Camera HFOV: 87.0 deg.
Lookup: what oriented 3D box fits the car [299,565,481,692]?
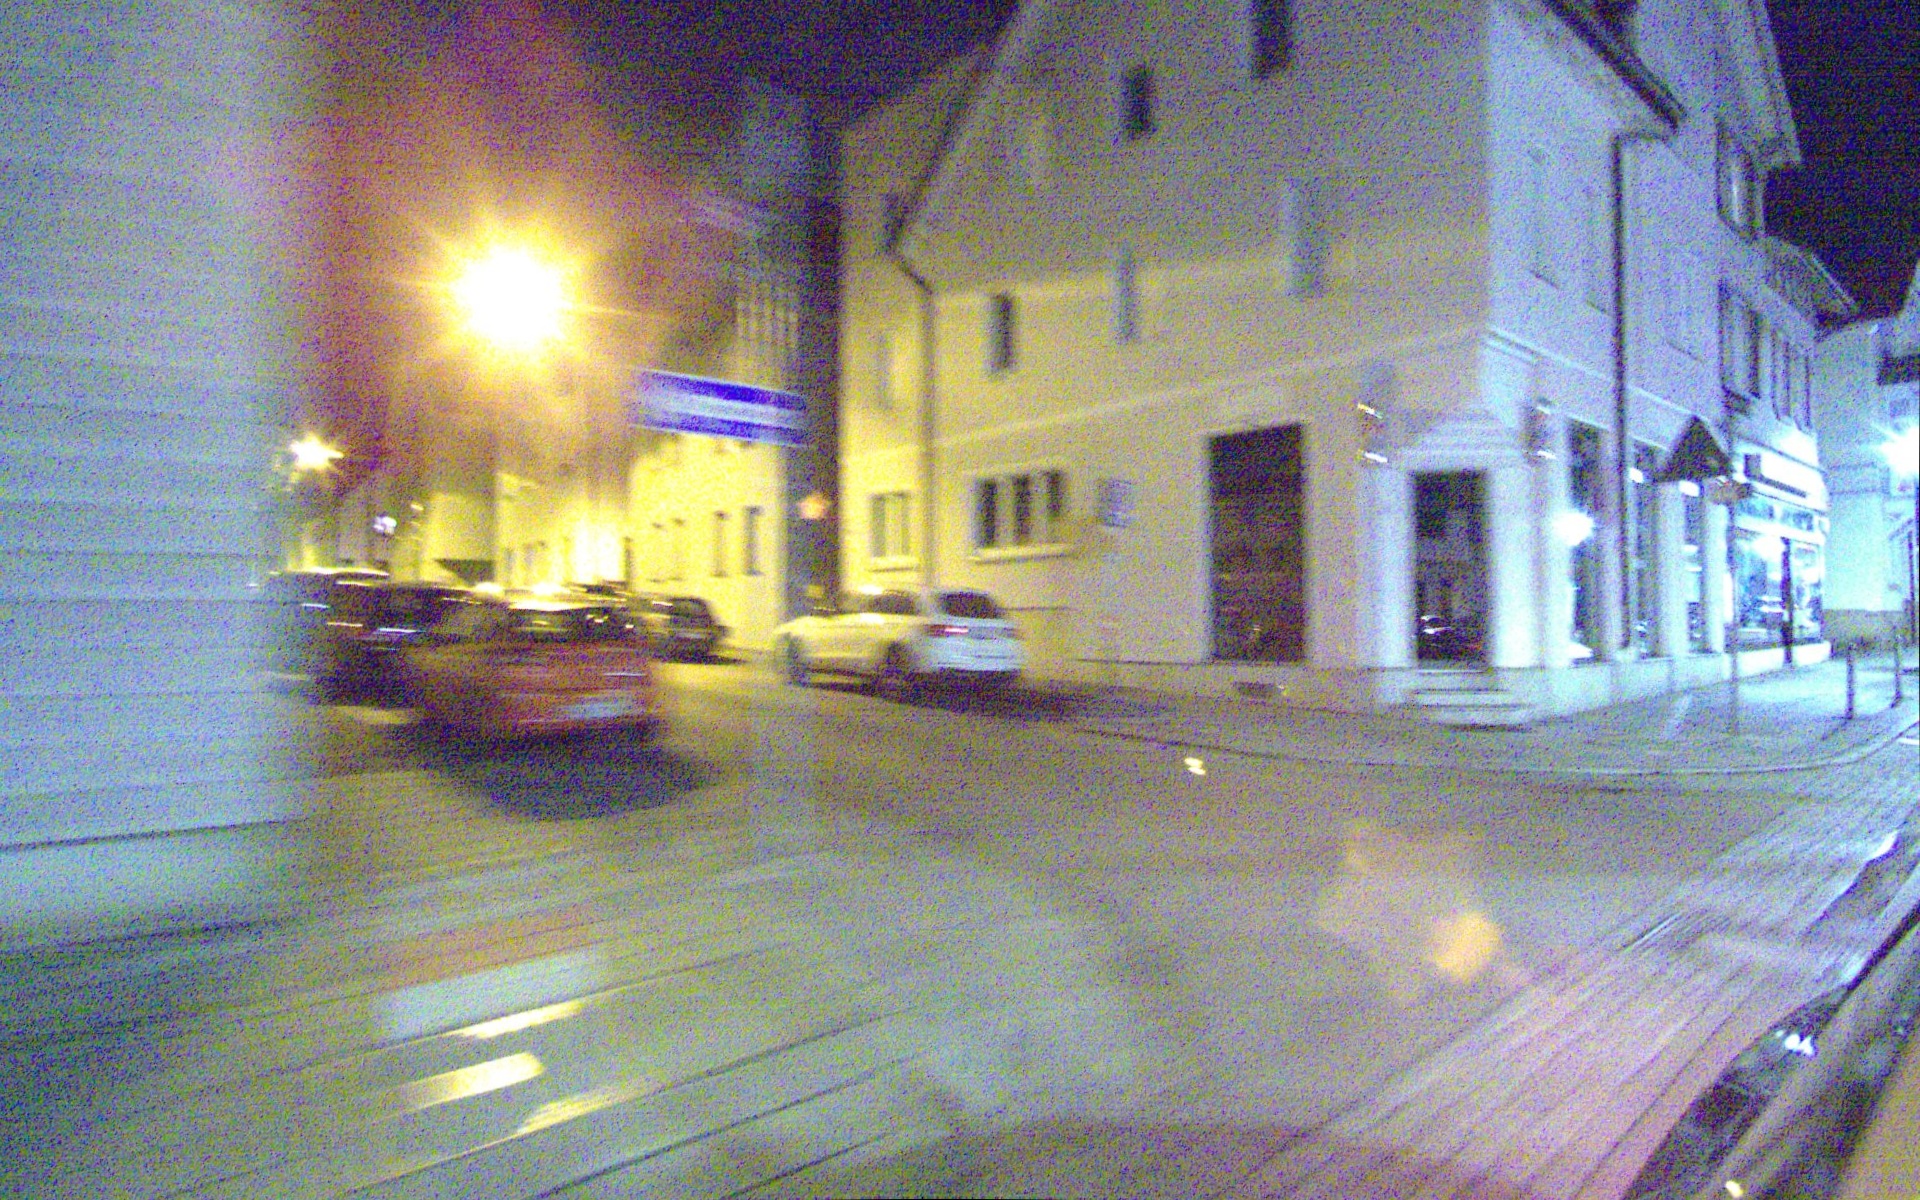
[{"bbox_3d":[-8.418,0.351,14.800,1.633,1.608,3.859,0,0,-40],"label":"car"}]

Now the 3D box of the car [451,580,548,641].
[{"bbox_3d":[-14.006,0.277,30.657,1.667,1.687,3.943,4,-2,-39],"label":"car"}]

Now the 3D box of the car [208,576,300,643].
[{"bbox_3d":[-18.898,0.199,27.035,1.634,1.518,3.267,-6,6,-40],"label":"car"}]

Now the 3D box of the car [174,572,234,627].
[{"bbox_3d":[-28.919,-0.075,38.676,1.538,1.871,3.267,-6,6,-40],"label":"car"}]

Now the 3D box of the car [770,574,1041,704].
[{"bbox_3d":[-0.959,0.486,15.212,1.866,1.659,4.315,2,0,-39],"label":"car"}]

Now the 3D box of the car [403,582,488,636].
[{"bbox_3d":[-17.713,0.290,34.753,1.667,1.687,4.212,4,-2,-39],"label":"car"}]

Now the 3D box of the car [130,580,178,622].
[{"bbox_3d":[-37.262,0.017,46.753,1.538,1.713,3.267,-6,6,-40],"label":"car"}]

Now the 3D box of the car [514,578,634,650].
[{"bbox_3d":[-9.992,0.328,26.022,1.667,1.687,3.943,4,-2,-39],"label":"car"}]

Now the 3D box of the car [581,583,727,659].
[{"bbox_3d":[-6.814,0.418,22.320,1.667,1.499,3.943,4,-2,-39],"label":"car"}]

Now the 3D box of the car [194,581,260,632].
[{"bbox_3d":[-25.430,0.170,35.082,1.538,1.518,3.267,-6,6,-40],"label":"car"}]

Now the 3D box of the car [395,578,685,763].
[{"bbox_3d":[-4.363,0.537,10.229,1.695,1.459,3.621,-1,2,-40],"label":"car"}]

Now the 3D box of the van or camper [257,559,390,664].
[{"bbox_3d":[-12.032,0.183,19.044,1.633,1.776,3.571,-1,0,-40],"label":"van or camper"}]

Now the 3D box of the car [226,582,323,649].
[{"bbox_3d":[-16.752,0.351,24.670,1.633,1.519,3.266,0,0,-40],"label":"car"}]

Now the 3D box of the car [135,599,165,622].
[{"bbox_3d":[-48.045,0.620,60.046,1.291,1.188,2.613,-2,3,-40],"label":"car"}]

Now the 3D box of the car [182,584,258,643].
[{"bbox_3d":[-22.314,0.354,30.474,1.538,1.518,3.267,-6,6,-40],"label":"car"}]
